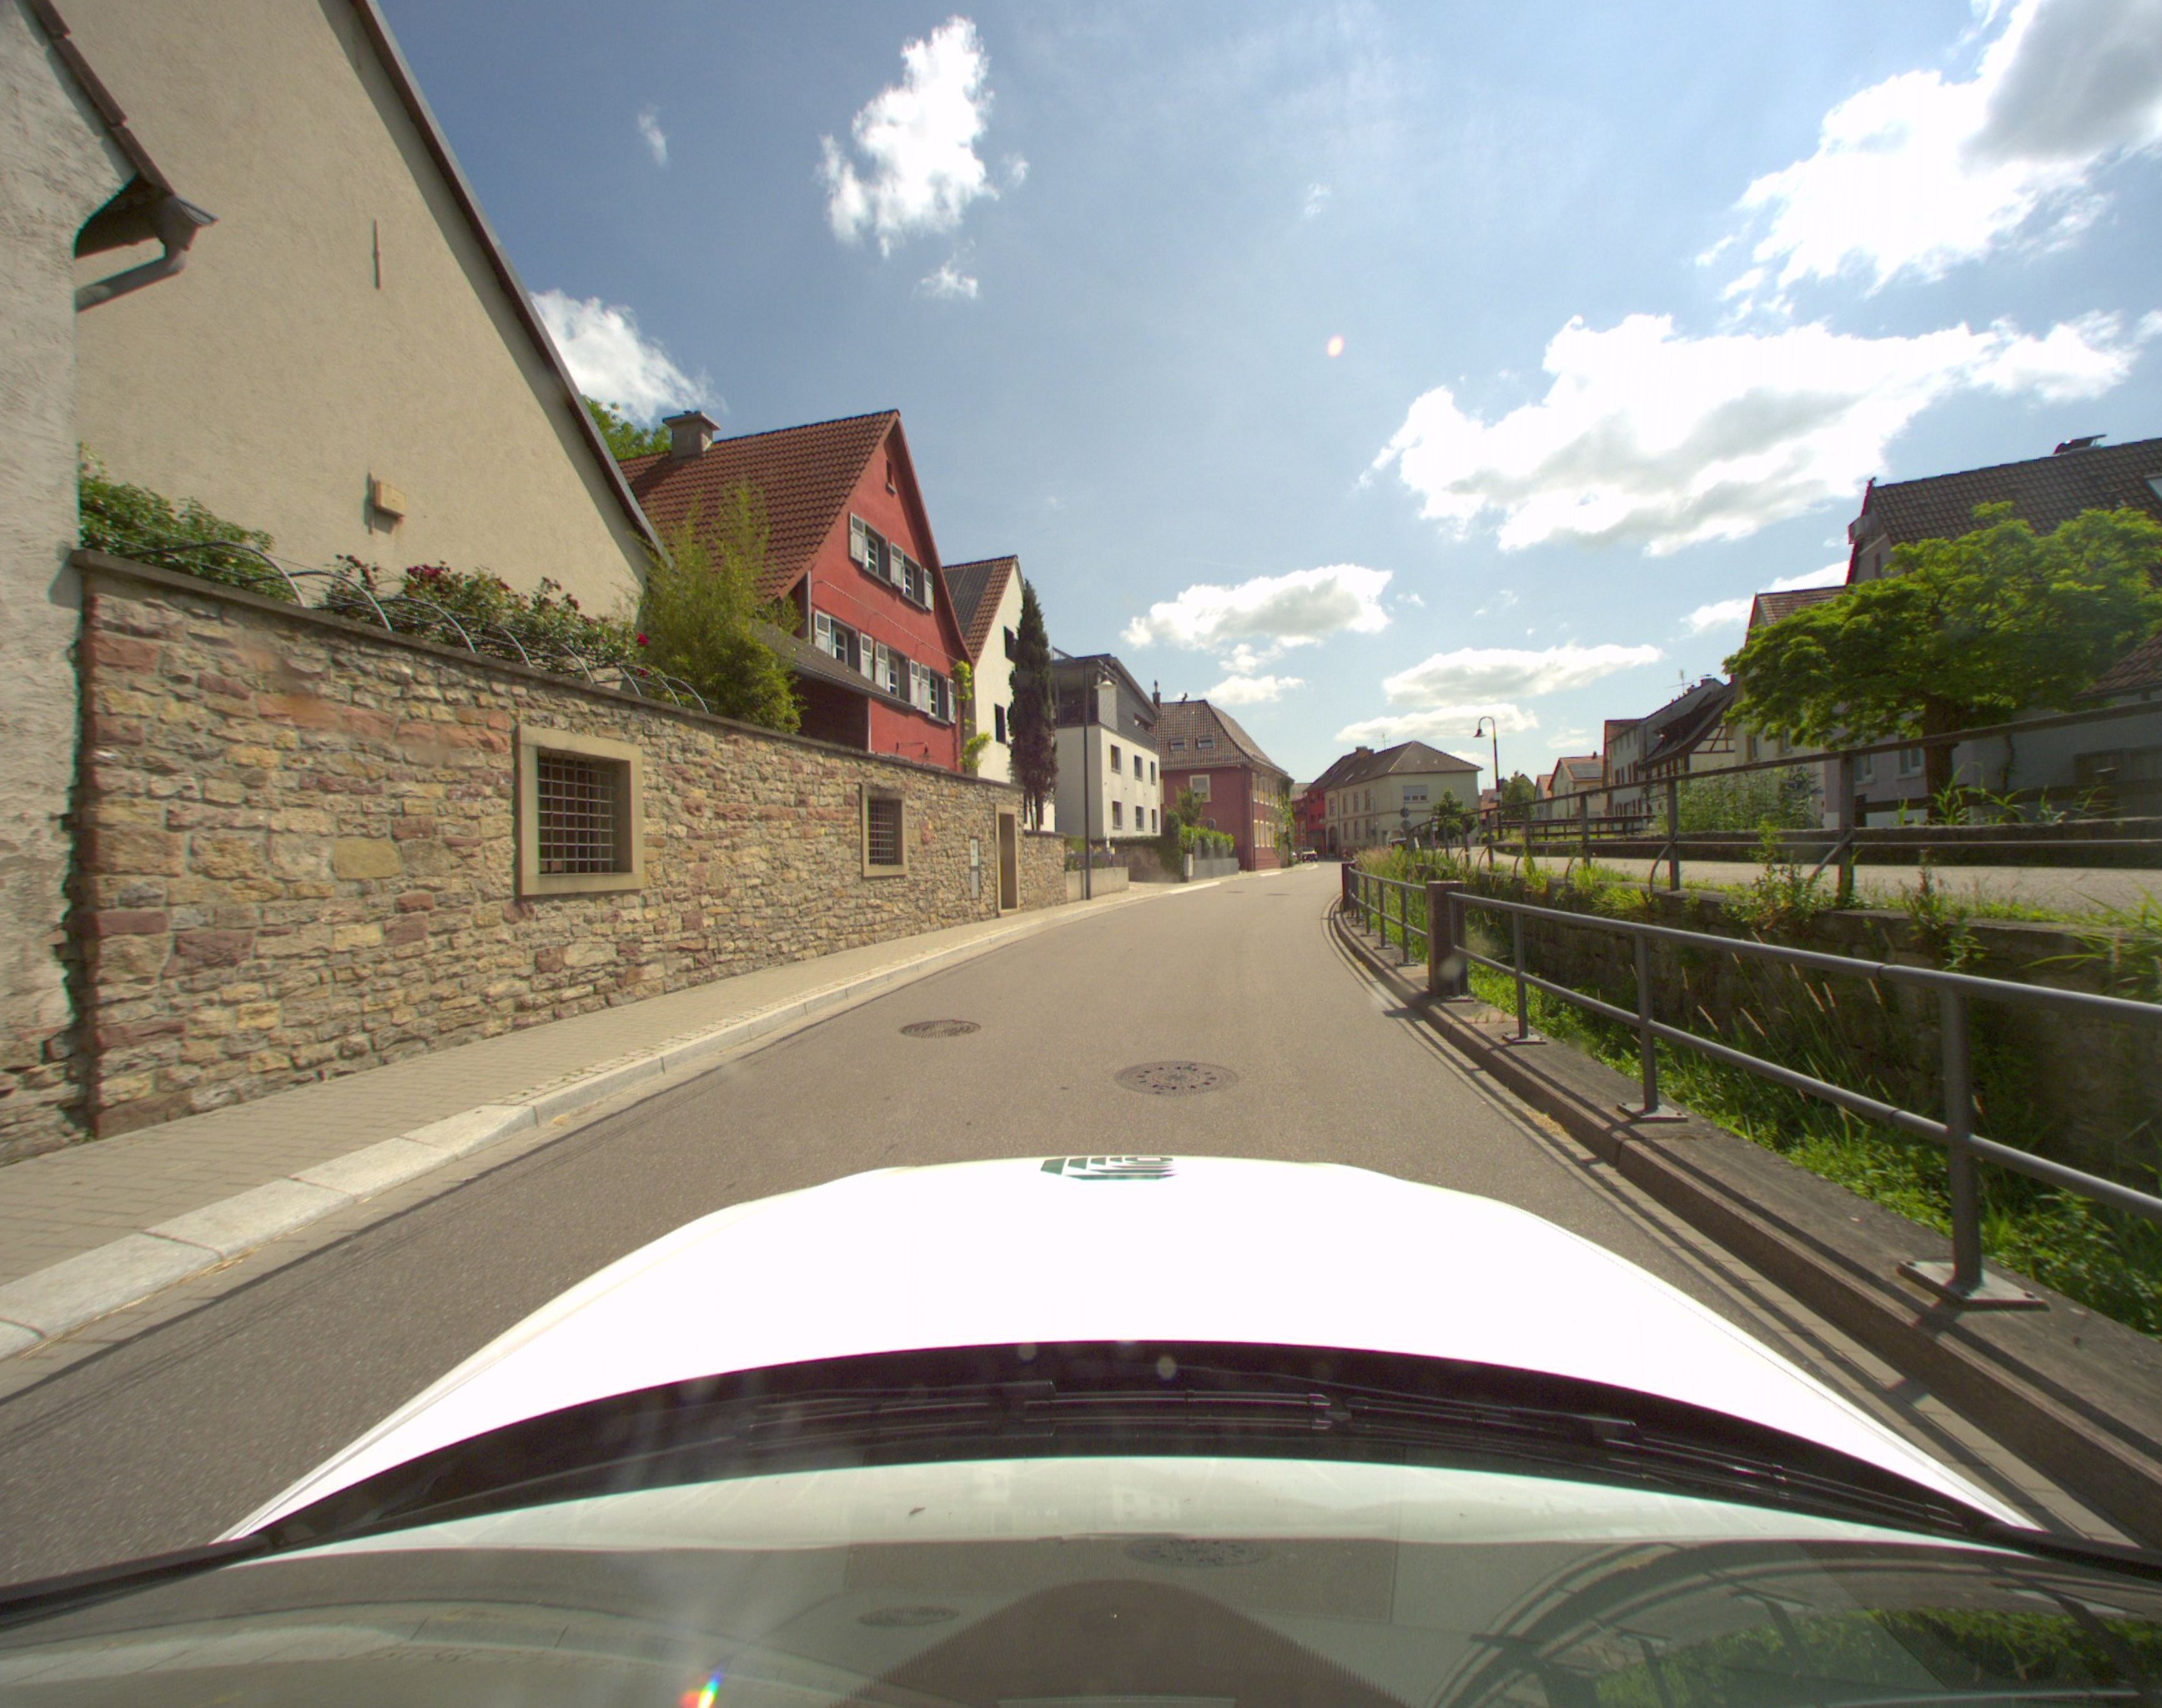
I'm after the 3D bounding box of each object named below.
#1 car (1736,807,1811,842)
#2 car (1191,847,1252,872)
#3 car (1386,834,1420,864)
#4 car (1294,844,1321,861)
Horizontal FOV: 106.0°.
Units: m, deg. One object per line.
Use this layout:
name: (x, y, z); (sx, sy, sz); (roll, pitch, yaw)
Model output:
car: (30.894, -1.293, 36.416); (1.650, 1.416, 3.096); (-2, 0, 22)
car: (9.048, 0.322, 52.548); (3.533, 1.406, 1.661); (3, 2, 23)
car: (23.292, -0.346, 58.814); (1.880, 1.980, 3.132); (-4, -1, 26)
car: (25.371, -0.198, 91.420); (1.620, 1.719, 3.464); (-4, -1, -7)
